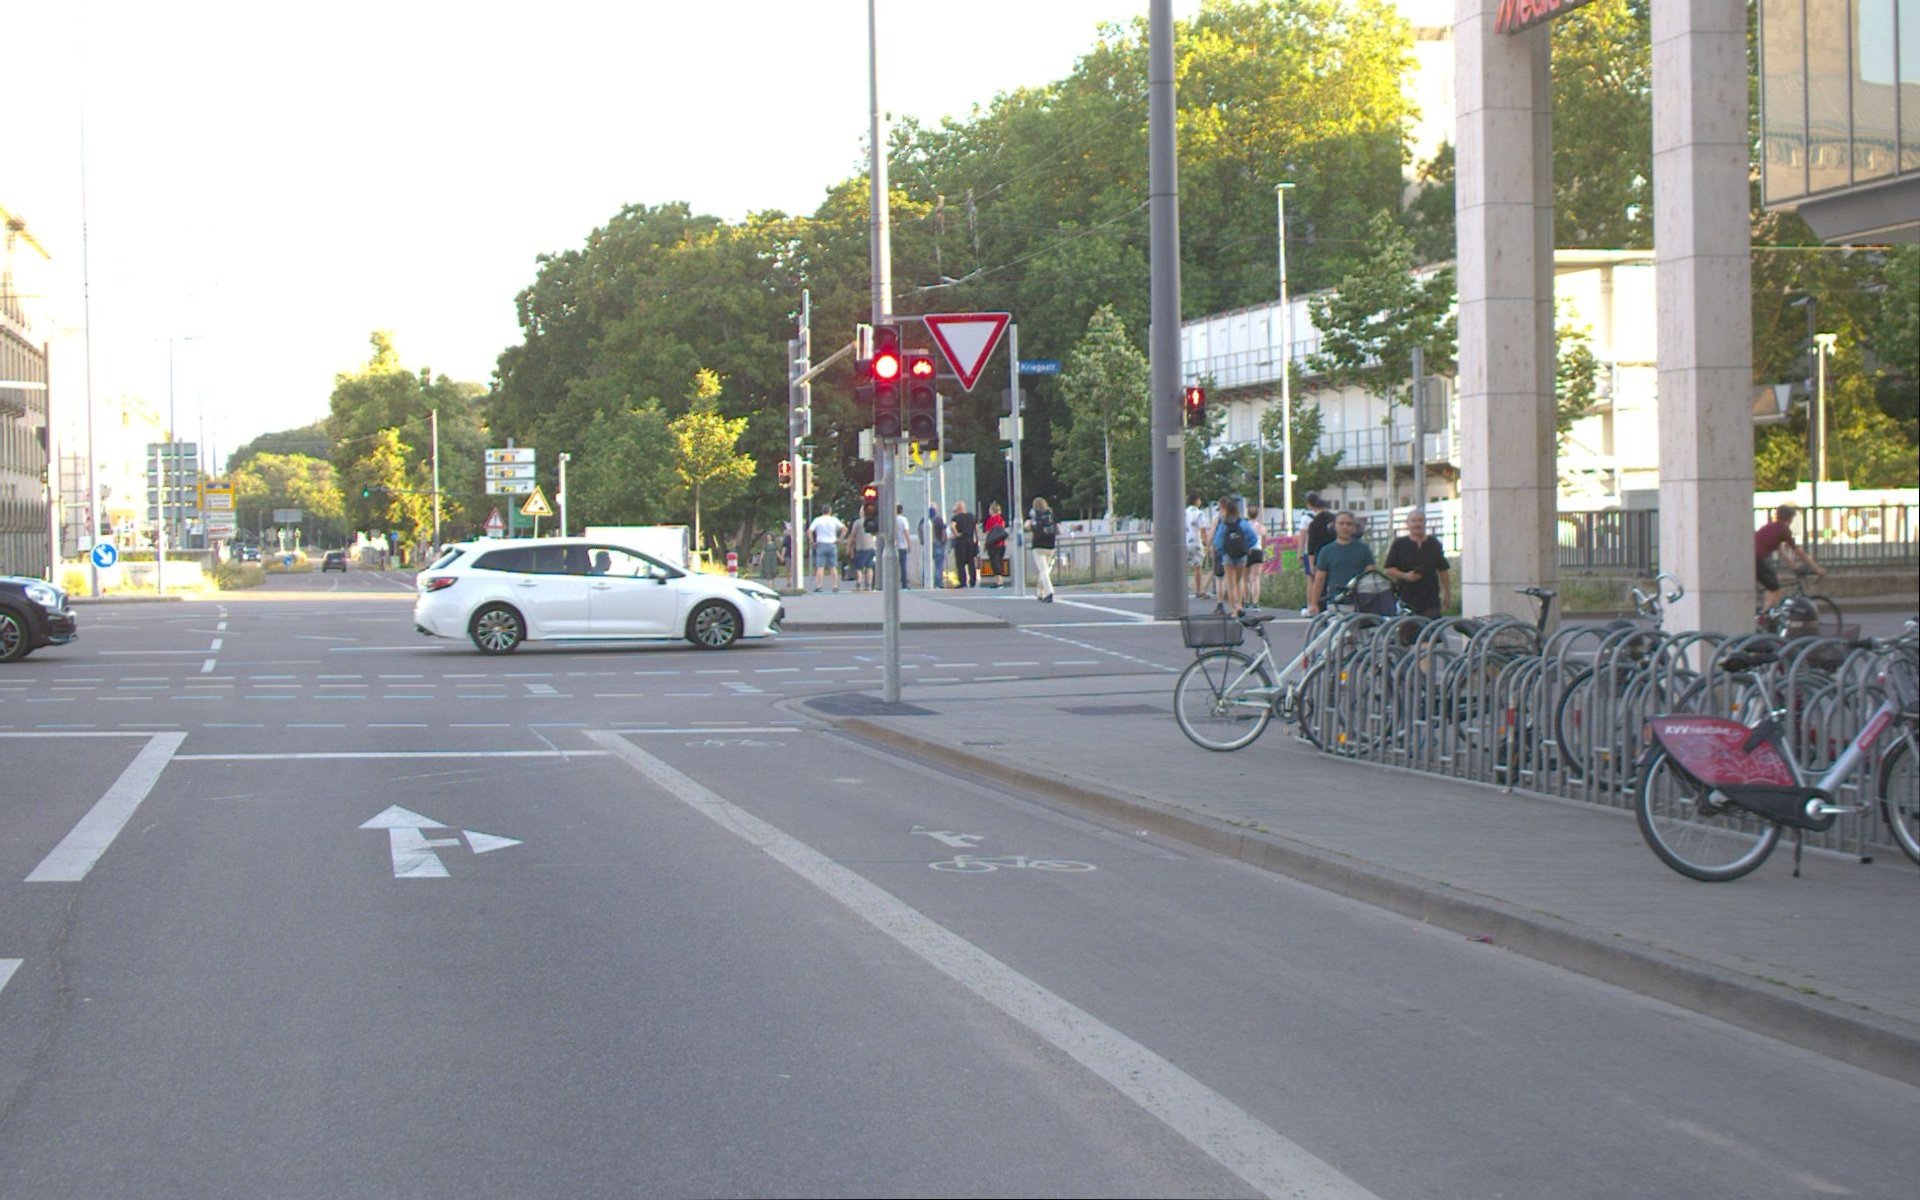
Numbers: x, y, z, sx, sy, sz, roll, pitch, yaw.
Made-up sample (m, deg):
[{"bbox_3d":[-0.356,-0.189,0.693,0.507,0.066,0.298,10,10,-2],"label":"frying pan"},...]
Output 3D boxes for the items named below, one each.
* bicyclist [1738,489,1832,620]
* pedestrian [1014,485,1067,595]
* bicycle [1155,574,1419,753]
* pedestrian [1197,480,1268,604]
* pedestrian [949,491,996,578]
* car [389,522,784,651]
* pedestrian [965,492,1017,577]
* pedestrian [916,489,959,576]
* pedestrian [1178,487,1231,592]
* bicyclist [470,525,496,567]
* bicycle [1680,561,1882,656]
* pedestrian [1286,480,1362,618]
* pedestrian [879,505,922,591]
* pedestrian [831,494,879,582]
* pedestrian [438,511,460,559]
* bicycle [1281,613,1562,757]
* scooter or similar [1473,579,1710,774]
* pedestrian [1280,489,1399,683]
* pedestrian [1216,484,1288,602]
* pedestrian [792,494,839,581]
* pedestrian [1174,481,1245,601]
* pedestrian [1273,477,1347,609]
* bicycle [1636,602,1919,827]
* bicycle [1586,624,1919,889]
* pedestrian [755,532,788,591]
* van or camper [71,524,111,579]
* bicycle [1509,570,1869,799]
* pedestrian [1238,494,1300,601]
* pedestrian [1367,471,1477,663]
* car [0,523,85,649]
[{"bbox_3d":[9.795,-0.549,40.841,0.879,1.525,0.654,-1,2,-10],"label":"bicyclist"},{"bbox_3d":[1.270,-0.951,54.244,0.691,1.724,0.741,-1,1,-9],"label":"pedestrian"},{"bbox_3d":[2.302,0.444,24.272,1.818,1.208,0.570,-1,1,5],"label":"bicycle"},{"bbox_3d":[3.845,-0.824,48.549,0.892,1.724,0.688,-1,1,-4],"label":"pedestrian"},{"bbox_3d":[0.250,-1.328,69.253,0.808,1.724,0.688,-1,1,-12],"label":"pedestrian"},{"bbox_3d":[-4.766,-0.198,43.584,4.795,1.490,2.129,-1,2,-11],"label":"car"},{"bbox_3d":[0.635,-1.334,69.892,0.686,1.724,0.811,-2,2,-37],"label":"pedestrian"},{"bbox_3d":[-0.457,-1.355,69.146,0.808,1.724,0.688,-1,1,2],"label":"pedestrian"},{"bbox_3d":[4.055,-1.006,56.964,0.836,1.724,0.688,-1,1,5],"label":"pedestrian"},{"bbox_3d":[-14.114,-1.610,101.707,0.651,1.219,0.861,-1,2,-14],"label":"bicyclist"},{"bbox_3d":[9.753,0.095,40.850,2.241,1.058,0.654,-1,2,-10],"label":"bicycle"},{"bbox_3d":[4.858,-0.687,45.950,0.893,1.824,0.688,-1,1,-2],"label":"pedestrian"},{"bbox_3d":[-1.212,-1.050,69.796,0.808,1.724,0.688,-1,1,2],"label":"pedestrian"},{"bbox_3d":[-2.100,-1.243,68.762,0.808,1.724,0.688,-1,1,-12],"label":"pedestrian"},{"bbox_3d":[-14.642,-1.867,98.540,0.522,1.369,0.688,-1,1,-14],"label":"pedestrian"},{"bbox_3d":[3.227,0.585,24.048,1.866,0.933,0.516,-1,1,-12],"label":"bicycle"},{"bbox_3d":[3.900,0.459,21.265,1.275,1.156,0.674,-1,1,-12],"label":"scooter or similar"},{"bbox_3d":[3.613,-0.143,32.766,0.860,1.770,0.741,-4,2,-10],"label":"pedestrian"},{"bbox_3d":[4.335,-0.847,51.128,0.685,1.724,0.896,-2,2,-26],"label":"pedestrian"},{"bbox_3d":[-2.881,-1.247,68.472,0.808,1.724,0.688,-1,1,-12],"label":"pedestrian"},{"bbox_3d":[3.630,-0.859,50.129,0.892,1.724,0.688,-1,1,-7],"label":"pedestrian"},{"bbox_3d":[4.938,-0.814,48.553,0.892,1.834,0.688,-1,1,-6],"label":"pedestrian"},{"bbox_3d":[4.502,0.589,17.763,1.871,1.109,0.571,1,1,-7],"label":"bicycle"},{"bbox_3d":[3.663,0.644,14.548,1.898,1.044,0.571,-1,1,-6],"label":"bicycle"},{"bbox_3d":[-5.609,-1.149,102.243,0.808,1.724,0.929,-1,1,-12],"label":"pedestrian"},{"bbox_3d":[-44.590,-2.505,176.354,1.883,2.751,4.934,-1,2,-15],"label":"van or camper"},{"bbox_3d":[4.128,0.475,19.502,1.866,1.255,0.674,1,1,-12],"label":"bicycle"},{"bbox_3d":[5.044,-0.857,56.065,0.836,1.724,0.687,0,1,19],"label":"pedestrian"},{"bbox_3d":[4.405,-0.321,32.819,0.756,1.770,0.741,-4,2,-10],"label":"pedestrian"},{"bbox_3d":[-13.098,-0.156,42.119,4.459,1.490,2.129,-1,2,-11],"label":"car"}]
